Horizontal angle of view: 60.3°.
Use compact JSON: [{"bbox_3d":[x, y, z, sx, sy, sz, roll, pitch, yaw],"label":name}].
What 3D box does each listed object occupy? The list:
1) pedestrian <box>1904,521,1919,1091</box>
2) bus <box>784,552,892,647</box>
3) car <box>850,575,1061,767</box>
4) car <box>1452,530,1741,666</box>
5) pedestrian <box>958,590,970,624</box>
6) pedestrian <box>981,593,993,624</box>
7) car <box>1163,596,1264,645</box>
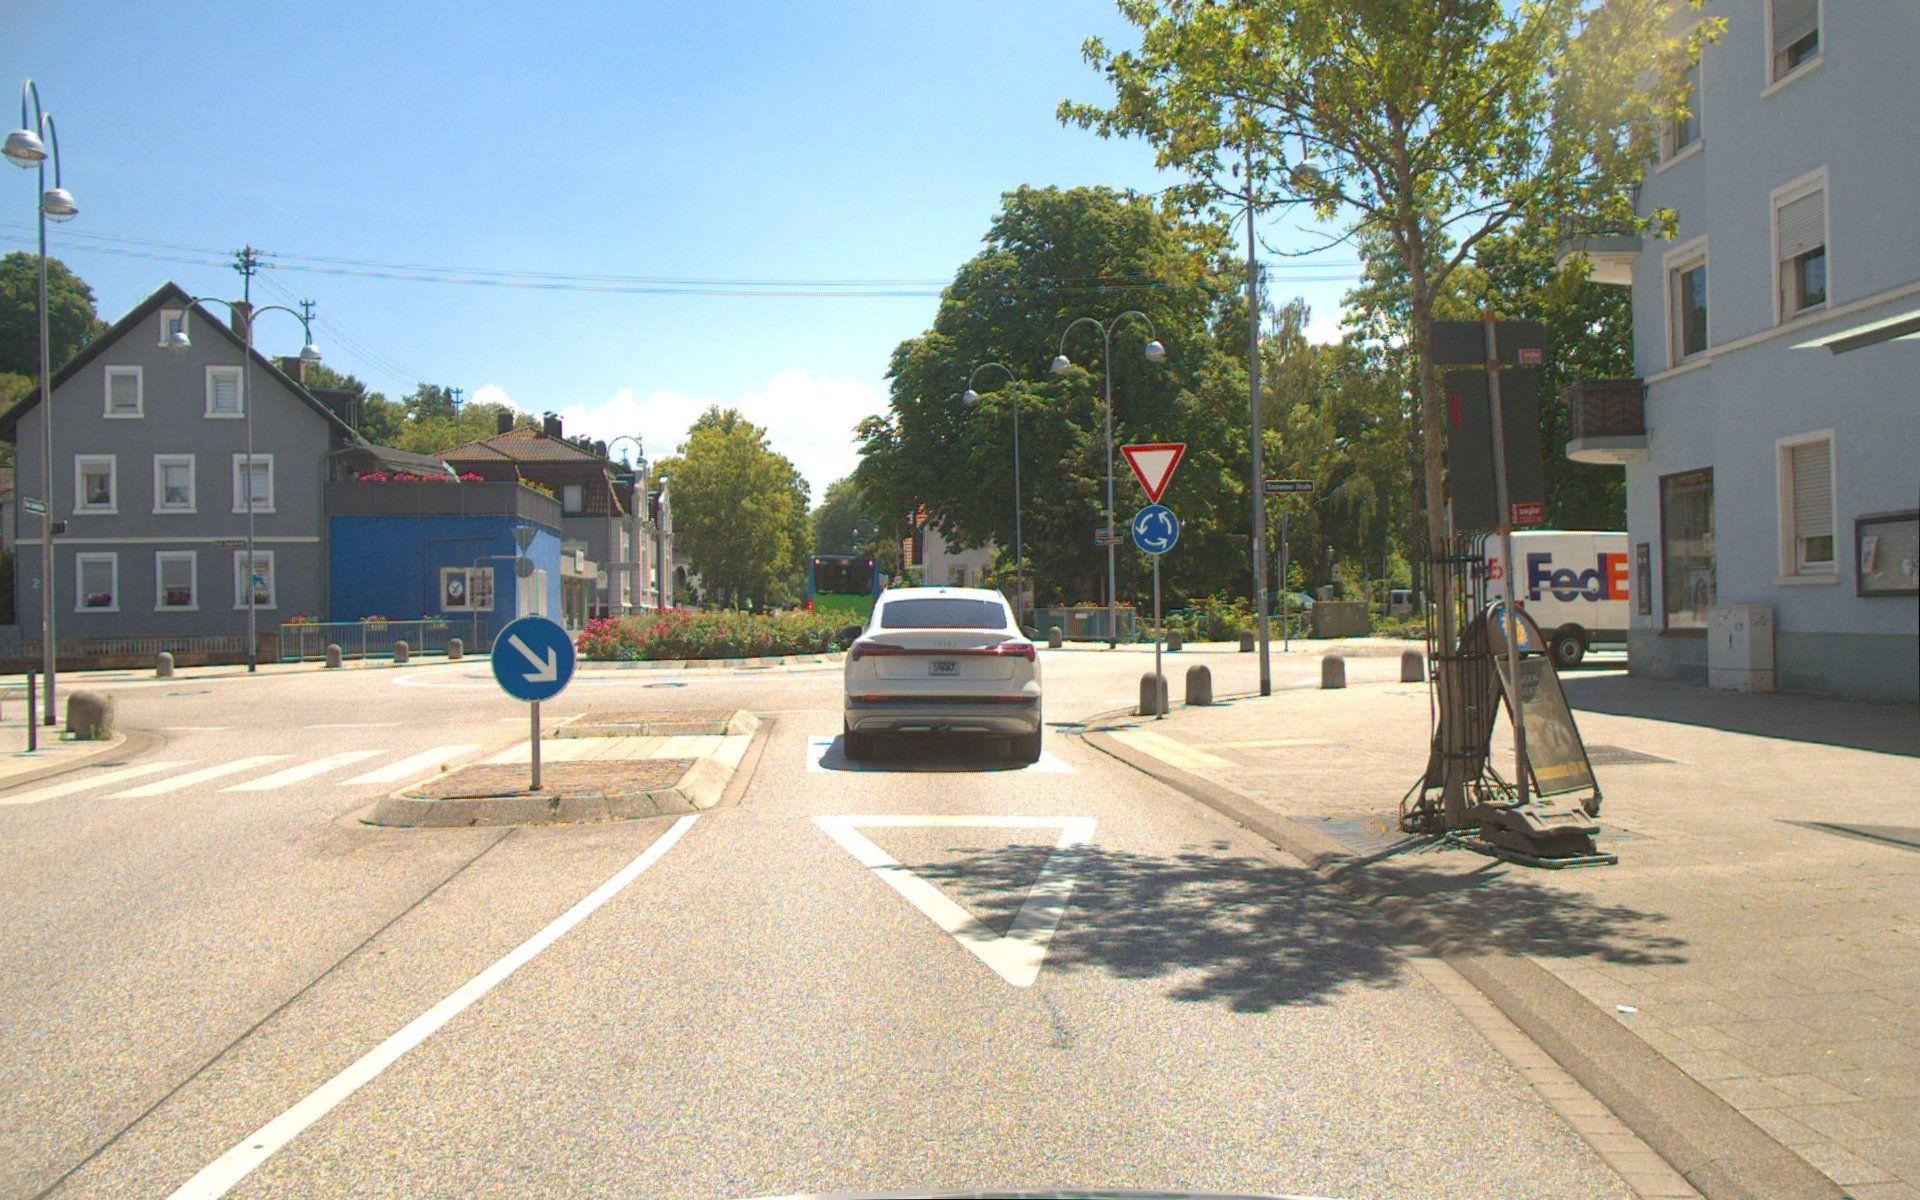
[{"bbox_3d":[3.114,0.586,4.513,0.717,1.638,0.559,-1,0,-3],"label":"pedestrian"},{"bbox_3d":[-4.581,0.065,65.985,3.632,3.227,18.059,1,-1,-2],"label":"bus"},{"bbox_3d":[-0.160,0.630,16.848,1.860,1.691,4.406,0,0,-3],"label":"car"},{"bbox_3d":[12.672,-0.109,32.958,5.382,2.523,1.990,-1,2,-19],"label":"car"},{"bbox_3d":[0.214,0.361,81.669,0.493,1.679,0.578,-1,0,-9],"label":"pedestrian"},{"bbox_3d":[1.348,0.419,81.500,0.480,1.548,0.541,-1,0,-9],"label":"pedestrian"},{"bbox_3d":[8.629,0.679,56.355,3.001,1.580,1.626,-1,0,-18],"label":"car"}]
